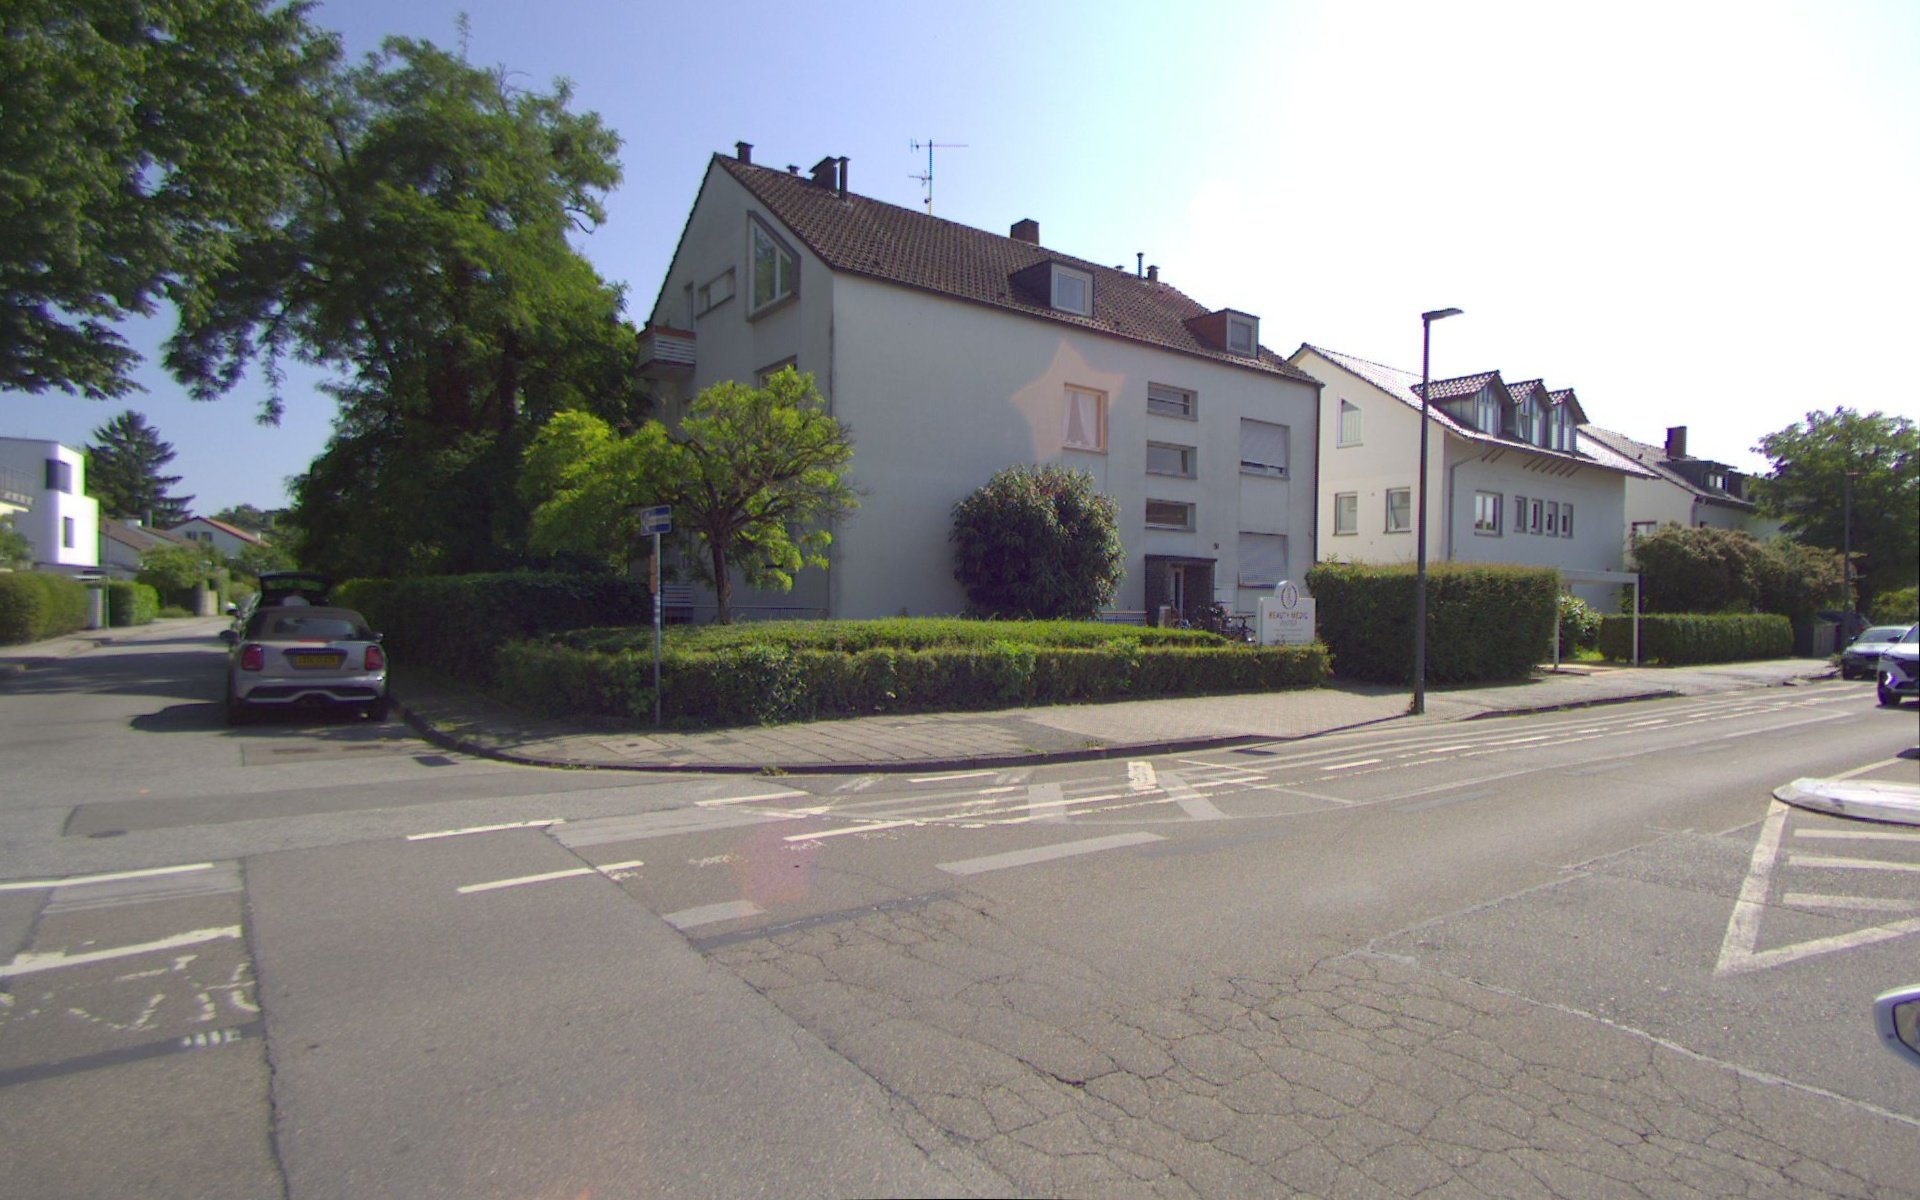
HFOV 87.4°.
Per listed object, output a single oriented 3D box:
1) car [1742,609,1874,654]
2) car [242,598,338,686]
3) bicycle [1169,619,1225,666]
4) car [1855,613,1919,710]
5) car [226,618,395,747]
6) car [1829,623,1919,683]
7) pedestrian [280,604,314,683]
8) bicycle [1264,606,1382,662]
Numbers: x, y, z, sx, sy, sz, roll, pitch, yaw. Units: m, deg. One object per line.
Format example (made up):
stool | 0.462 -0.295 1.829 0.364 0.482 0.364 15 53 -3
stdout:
car | 36.395 1.311 43.192 1.980 1.783 3.960 0 0 -35
car | -14.853 0.866 22.194 1.629 1.768 3.468 1 0 -36
bicycle | 4.766 0.843 20.130 1.360 0.885 0.330 1 4 -42
car | 18.626 1.102 18.751 4.461 1.688 1.902 1 -2 -35
car | -8.832 0.995 13.563 1.710 1.431 3.468 1 0 -36
car | 24.972 1.367 27.019 4.121 1.459 1.770 1 -1 -40
pedestrian | -13.853 0.907 20.990 0.563 1.628 0.396 1 0 -36
bicycle | 7.867 0.718 21.824 2.392 1.122 0.537 1 6 23
